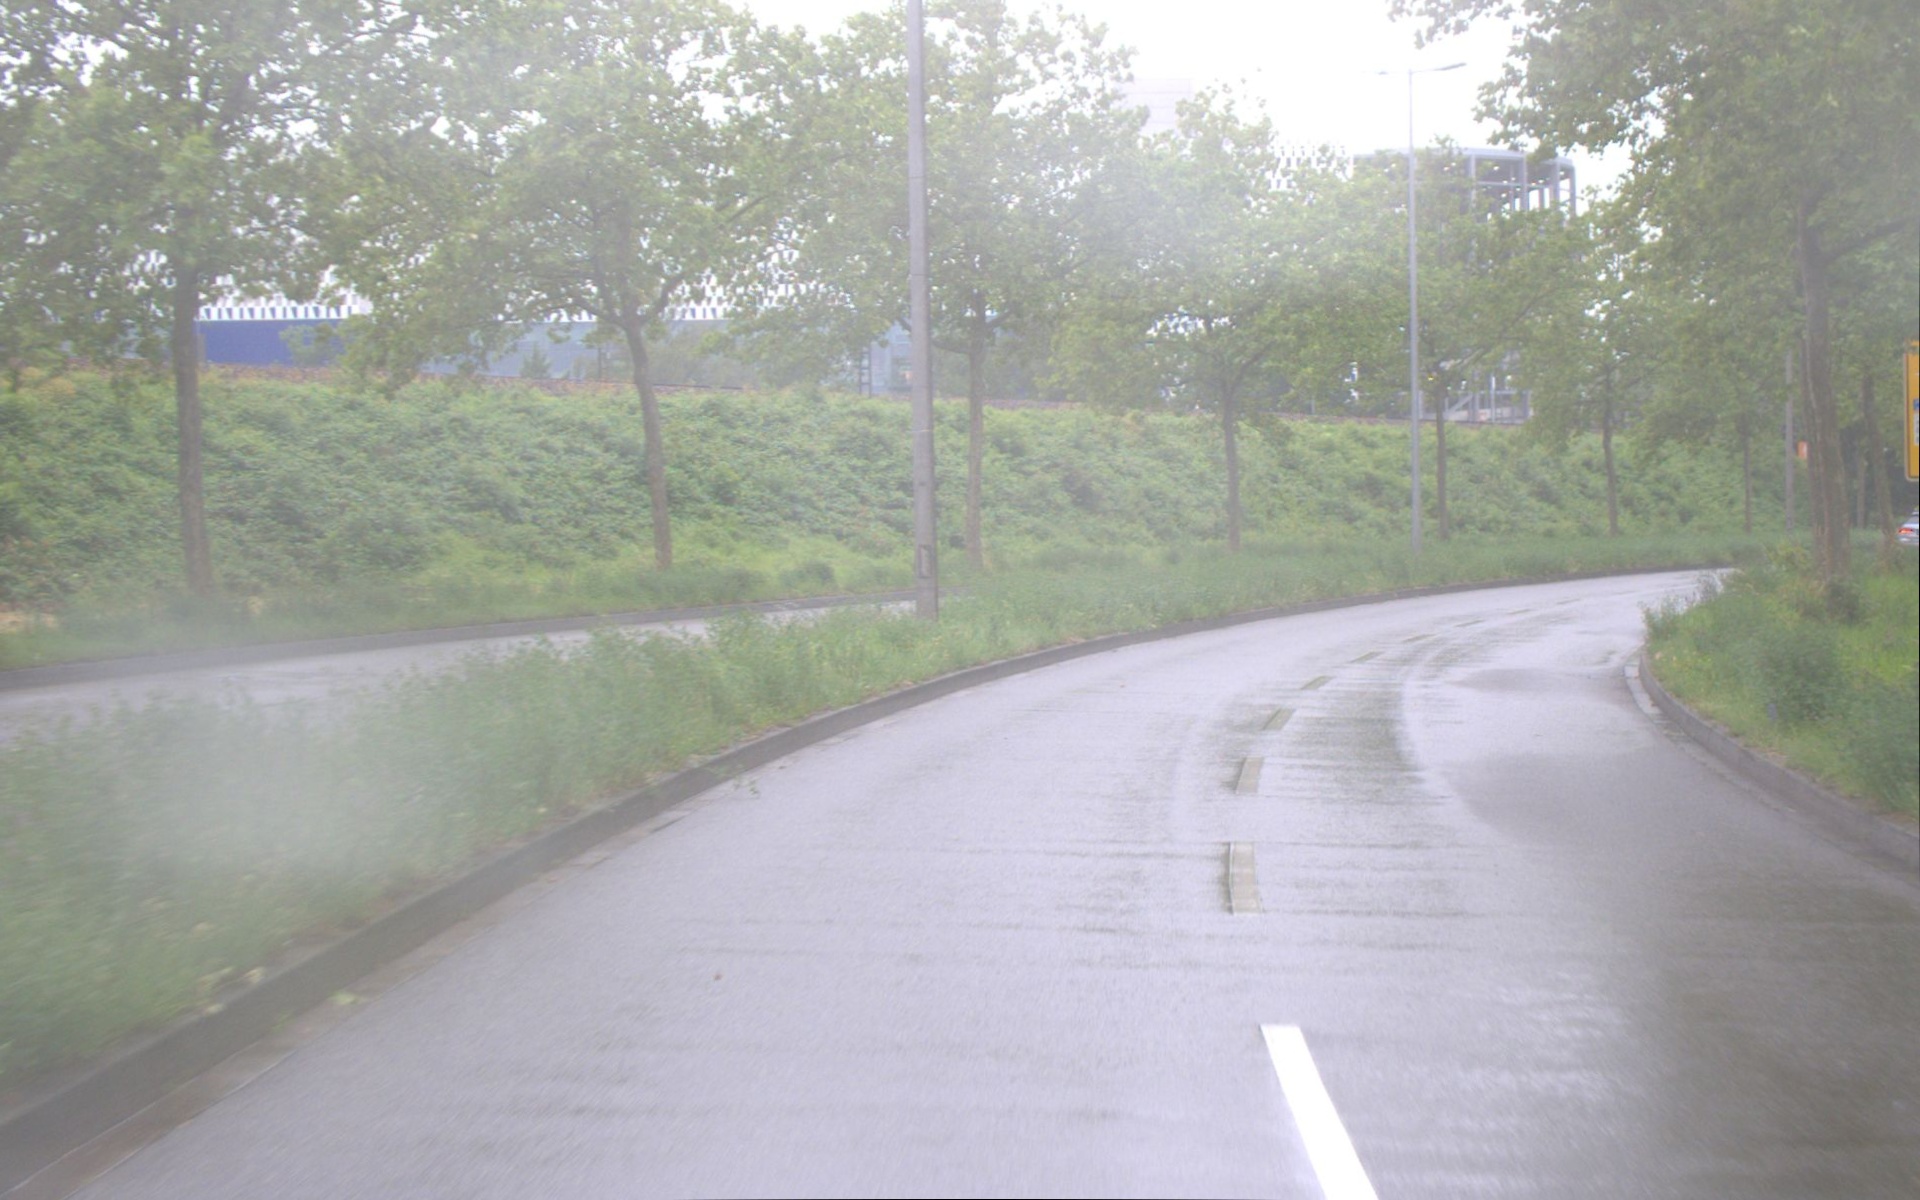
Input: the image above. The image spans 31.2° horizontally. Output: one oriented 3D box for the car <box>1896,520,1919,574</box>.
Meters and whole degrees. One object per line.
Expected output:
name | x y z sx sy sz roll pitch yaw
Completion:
car | 28.908 -1.567 101.218 1.782 1.550 3.994 2 2 27
